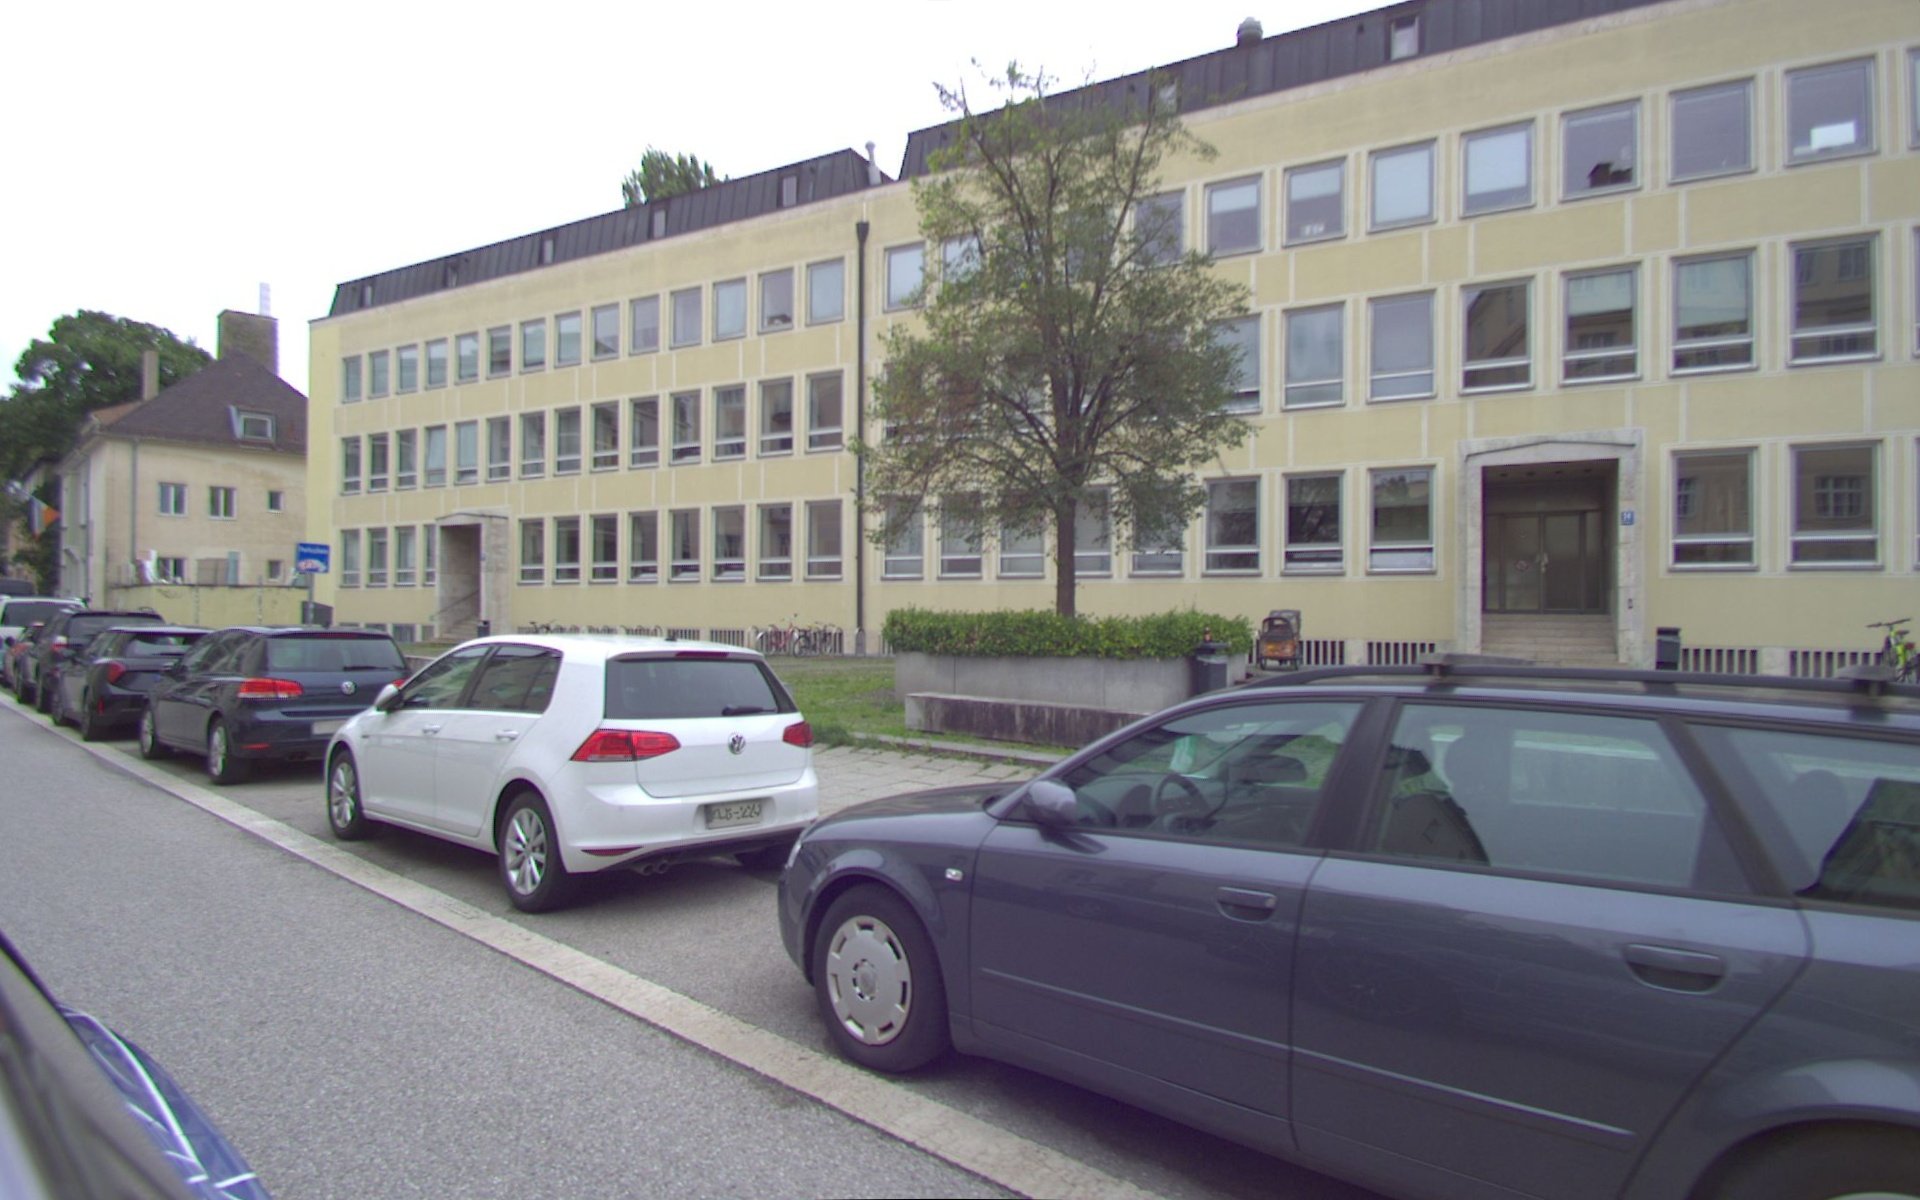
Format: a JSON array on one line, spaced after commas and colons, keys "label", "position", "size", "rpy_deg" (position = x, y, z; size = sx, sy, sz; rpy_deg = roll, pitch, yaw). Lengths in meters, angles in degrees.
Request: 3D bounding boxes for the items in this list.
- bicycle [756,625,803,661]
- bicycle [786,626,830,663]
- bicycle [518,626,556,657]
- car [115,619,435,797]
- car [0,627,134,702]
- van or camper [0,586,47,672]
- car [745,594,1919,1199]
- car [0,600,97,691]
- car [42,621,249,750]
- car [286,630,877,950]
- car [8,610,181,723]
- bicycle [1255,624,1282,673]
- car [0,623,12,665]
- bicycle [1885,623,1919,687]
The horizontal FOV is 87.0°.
[{"label": "bicycle", "position": [-5.156, 1.219, 28.971], "size": [0.414, 0.952, 1.393], "rpy_deg": [-1, 0, 39]}, {"label": "bicycle", "position": [-4.172, 1.214, 27.837], "size": [0.412, 0.952, 1.397], "rpy_deg": [-1, 0, 29]}, {"label": "bicycle", "position": [-13.899, 1.344, 33.299], "size": [0.410, 0.952, 1.405], "rpy_deg": [-1, 0, 13]}, {"label": "car", "position": [-7.239, 0.982, 10.542], "size": [4.096, 1.506, 1.614], "rpy_deg": [-1, -3, 39]}, {"label": "car", "position": [-18.680, 1.301, 21.023], "size": [3.708, 1.417, 1.785], "rpy_deg": [-1, -4, 43]}, {"label": "van or camper", "position": [-31.799, 0.929, 33.228], "size": [5.563, 2.671, 2.267], "rpy_deg": [-1, -3, 44]}, {"label": "car", "position": [1.337, 0.789, 2.983], "size": [4.273, 1.506, 1.613], "rpy_deg": [-1, -3, 41]}, {"label": "car", "position": [-22.421, 1.080, 24.205], "size": [4.958, 1.975, 1.895], "rpy_deg": [-2, -4, 40]}, {"label": "car", "position": [-11.170, 1.052, 13.790], "size": [3.819, 1.506, 1.613], "rpy_deg": [-1, -3, 42]}, {"label": "car", "position": [-2.689, 0.948, 6.661], "size": [4.290, 1.433, 1.723], "rpy_deg": [-1, -4, 40]}, {"label": "car", "position": [-14.848, 1.065, 17.291], "size": [4.140, 1.702, 1.696], "rpy_deg": [-1, -3, 43]}, {"label": "bicycle", "position": [6.632, 1.028, 21.736], "size": [0.499, 0.952, 1.599], "rpy_deg": [-1, 0, 18]}, {"label": "car", "position": [-35.785, 1.560, 36.636], "size": [3.905, 1.508, 1.636], "rpy_deg": [-1, -3, 40]}, {"label": "bicycle", "position": [15.709, 0.880, 16.543], "size": [0.412, 0.952, 1.938], "rpy_deg": [-1, 0, 29]}]
